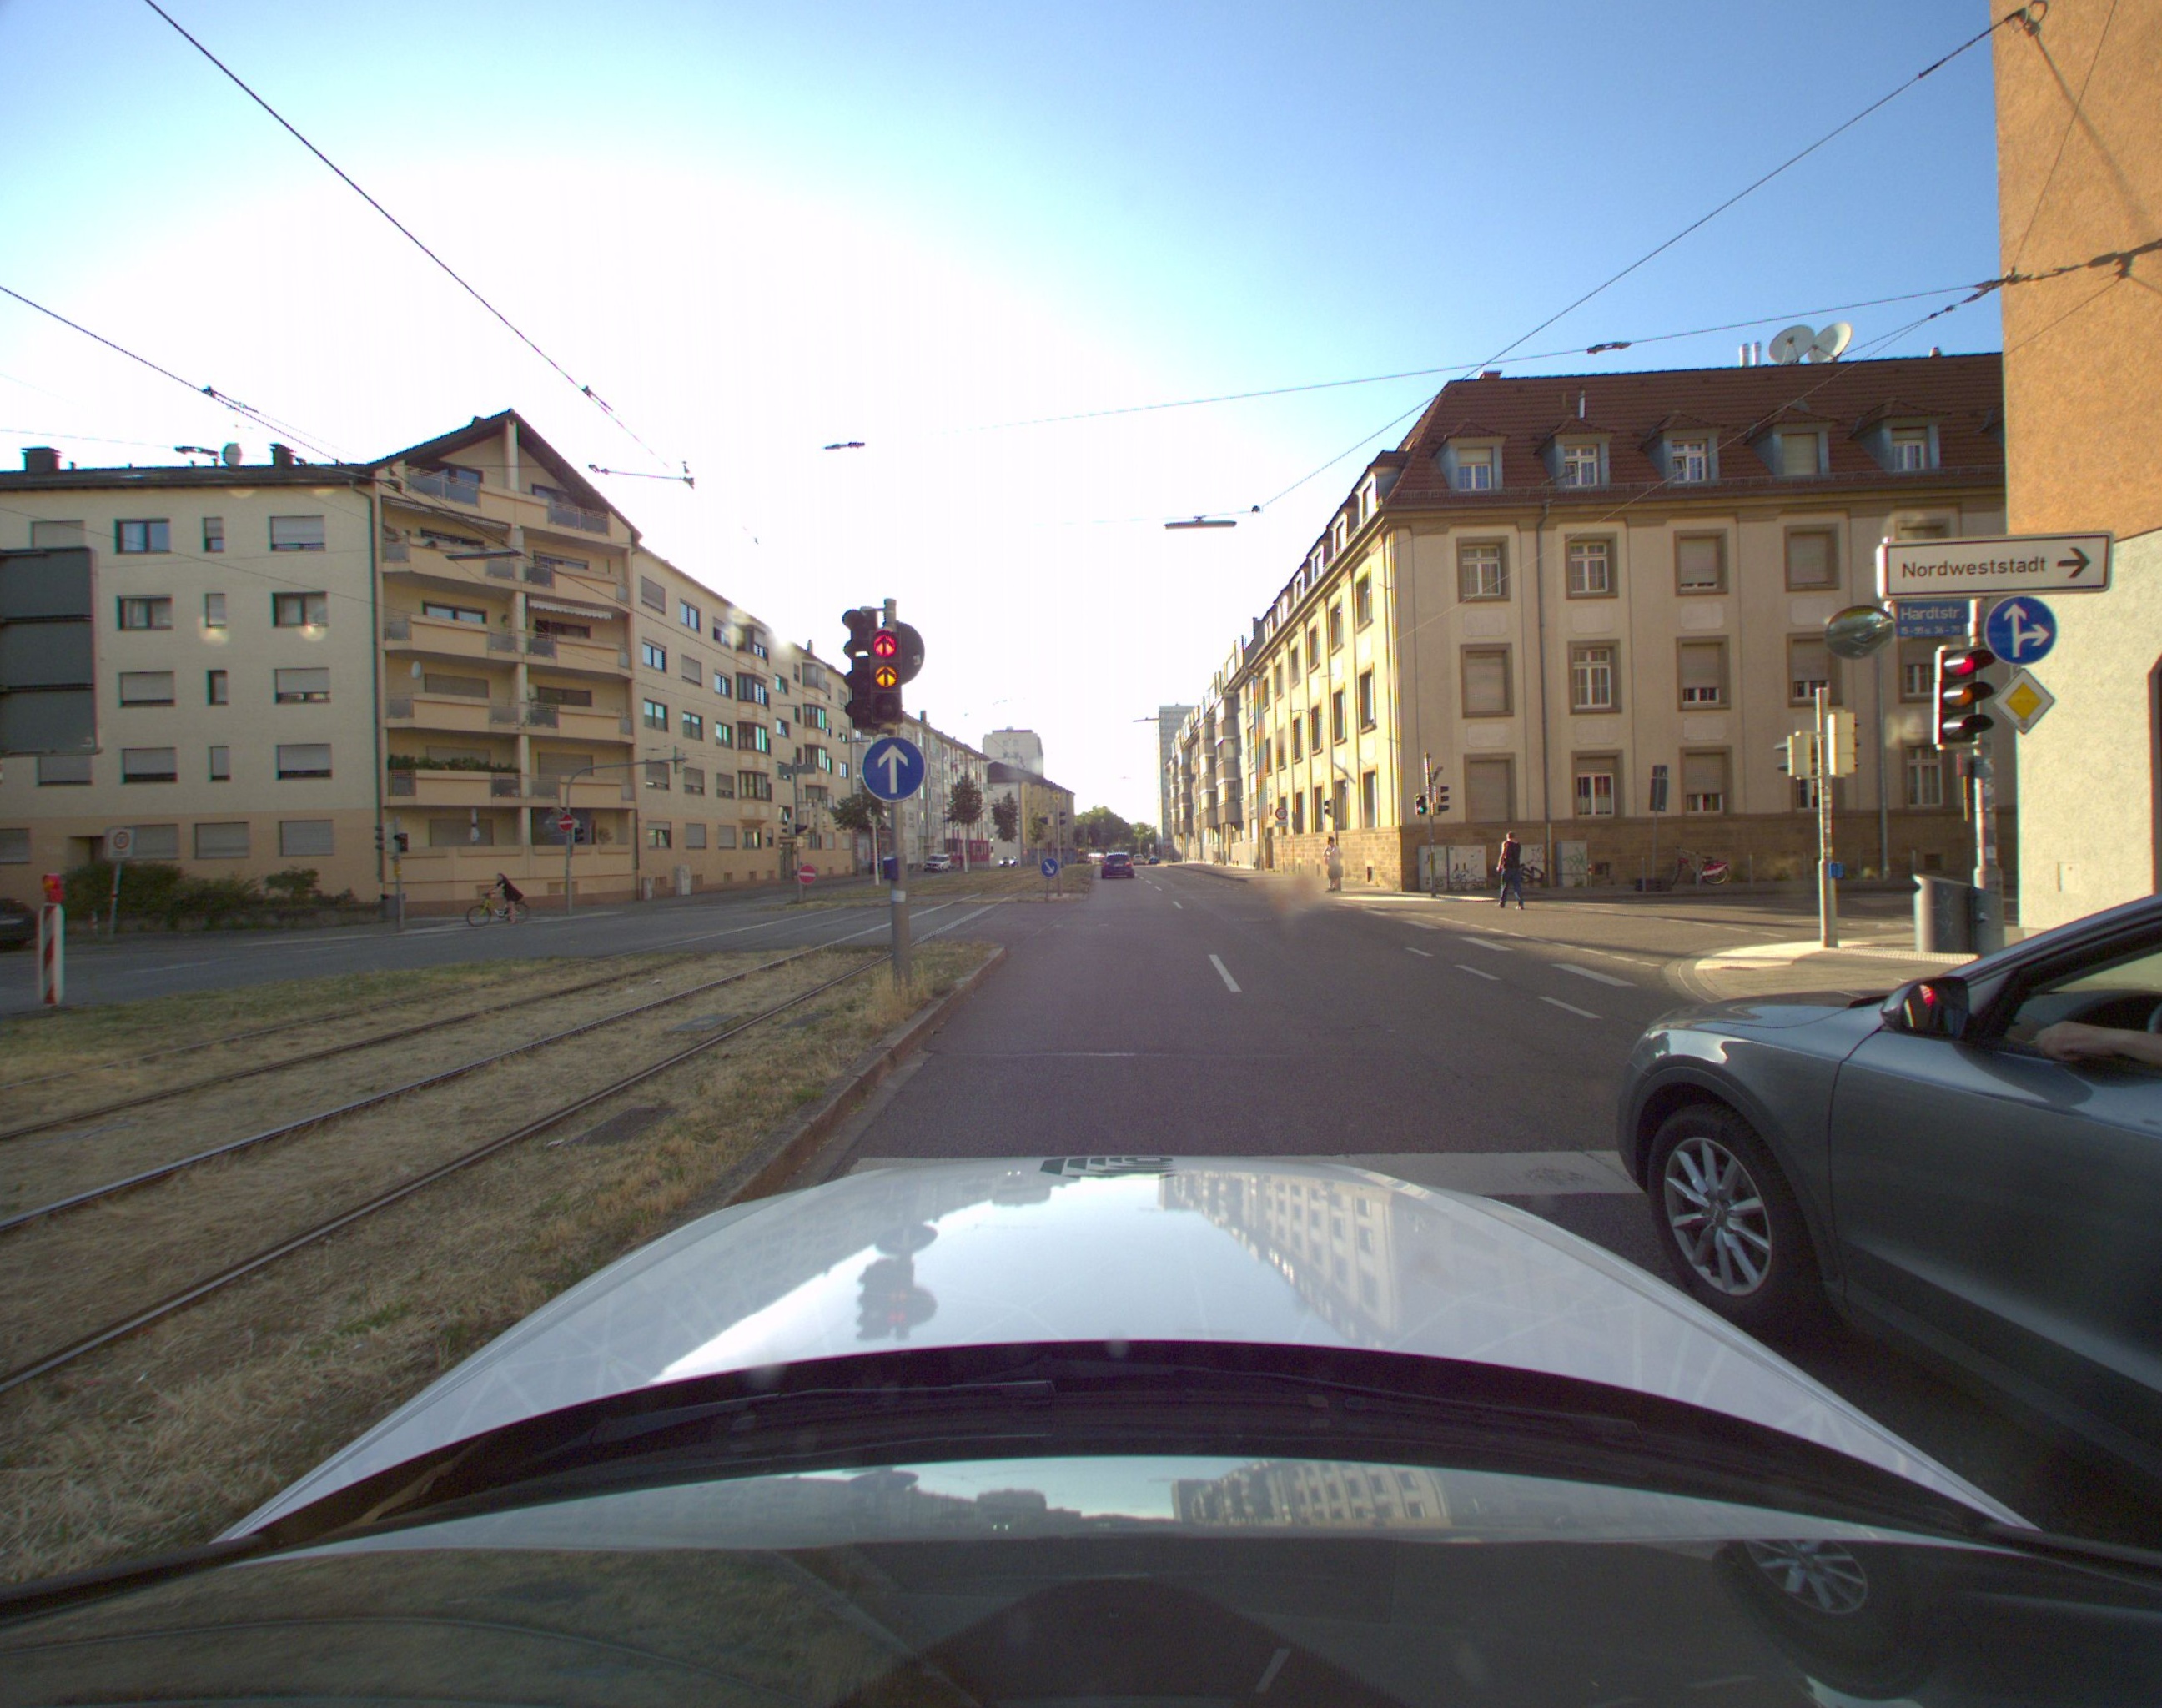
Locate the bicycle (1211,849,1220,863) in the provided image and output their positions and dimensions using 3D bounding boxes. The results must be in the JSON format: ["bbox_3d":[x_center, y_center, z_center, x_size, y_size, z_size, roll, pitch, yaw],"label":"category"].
[{"bbox_3d":[10.250,0.152,61.970,0.382,1.096,1.503,-2,-1,0],"label":"bicycle"}]

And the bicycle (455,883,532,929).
[{"bbox_3d":[-18.238,1.596,25.336,0.450,1.257,1.883,-1,1,34],"label":"bicycle"}]

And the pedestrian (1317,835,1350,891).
[{"bbox_3d":[8.168,0.297,26.355,0.832,1.762,0.824,0,-1,1],"label":"pedestrian"}]

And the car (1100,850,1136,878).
[{"bbox_3d":[2.072,0.564,45.798,1.919,1.456,4.330,0,0,2],"label":"car"}]

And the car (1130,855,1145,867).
[{"bbox_3d":[7.817,0.986,112.561,1.985,1.564,4.003,0,-1,3],"label":"car"}]

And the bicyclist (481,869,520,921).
[{"bbox_3d":[-18.145,1.270,25.461,0.620,1.586,0.814,-1,0,35],"label":"bicyclist"}]

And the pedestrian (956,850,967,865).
[{"bbox_3d":[-14.720,0.435,100.521,1.268,1.761,1.271,0,-1,-8],"label":"pedestrian"}]

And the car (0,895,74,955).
[{"bbox_3d":[-30.079,1.958,21.525,3.983,1.442,1.996,-2,2,-7],"label":"car"}]

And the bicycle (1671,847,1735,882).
[{"bbox_3d":[18.329,0.325,24.005,1.491,1.018,0.251,-1,-1,17],"label":"bicycle"}]

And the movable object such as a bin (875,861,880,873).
[{"bbox_3d":[-17.293,1.109,69.314,0.297,1.036,0.441,0,-1,1],"label":"movable object such as a bin"}]

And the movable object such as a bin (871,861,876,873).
[{"bbox_3d":[-17.508,1.118,68.722,0.297,1.036,0.441,0,-1,1],"label":"movable object such as a bin"}]

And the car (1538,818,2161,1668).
[{"bbox_3d":[2.804,0.694,1.459,1.691,1.552,4.227,-1,0,2],"label":"car"}]

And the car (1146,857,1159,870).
[{"bbox_3d":[12.421,1.619,141.279,1.986,2.013,4.002,-2,0,2],"label":"car"}]

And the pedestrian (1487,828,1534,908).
[{"bbox_3d":[9.645,0.311,18.305,0.627,1.758,0.826,0,-1,1],"label":"pedestrian"}]

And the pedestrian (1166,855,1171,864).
[{"bbox_3d":[12.213,0.780,113.605,0.689,1.234,0.736,0,-1,1],"label":"pedestrian"}]

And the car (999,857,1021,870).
[{"bbox_3d":[-9.247,1.234,106.596,1.888,1.633,4.754,-2,0,5],"label":"car"}]

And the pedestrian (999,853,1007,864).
[{"bbox_3d":[-12.143,0.756,126.650,0.957,1.694,1.013,-1,-1,7],"label":"pedestrian"}]

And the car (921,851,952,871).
[{"bbox_3d":[-14.517,0.668,82.136,1.984,1.925,4.548,-1,-1,5],"label":"car"}]
